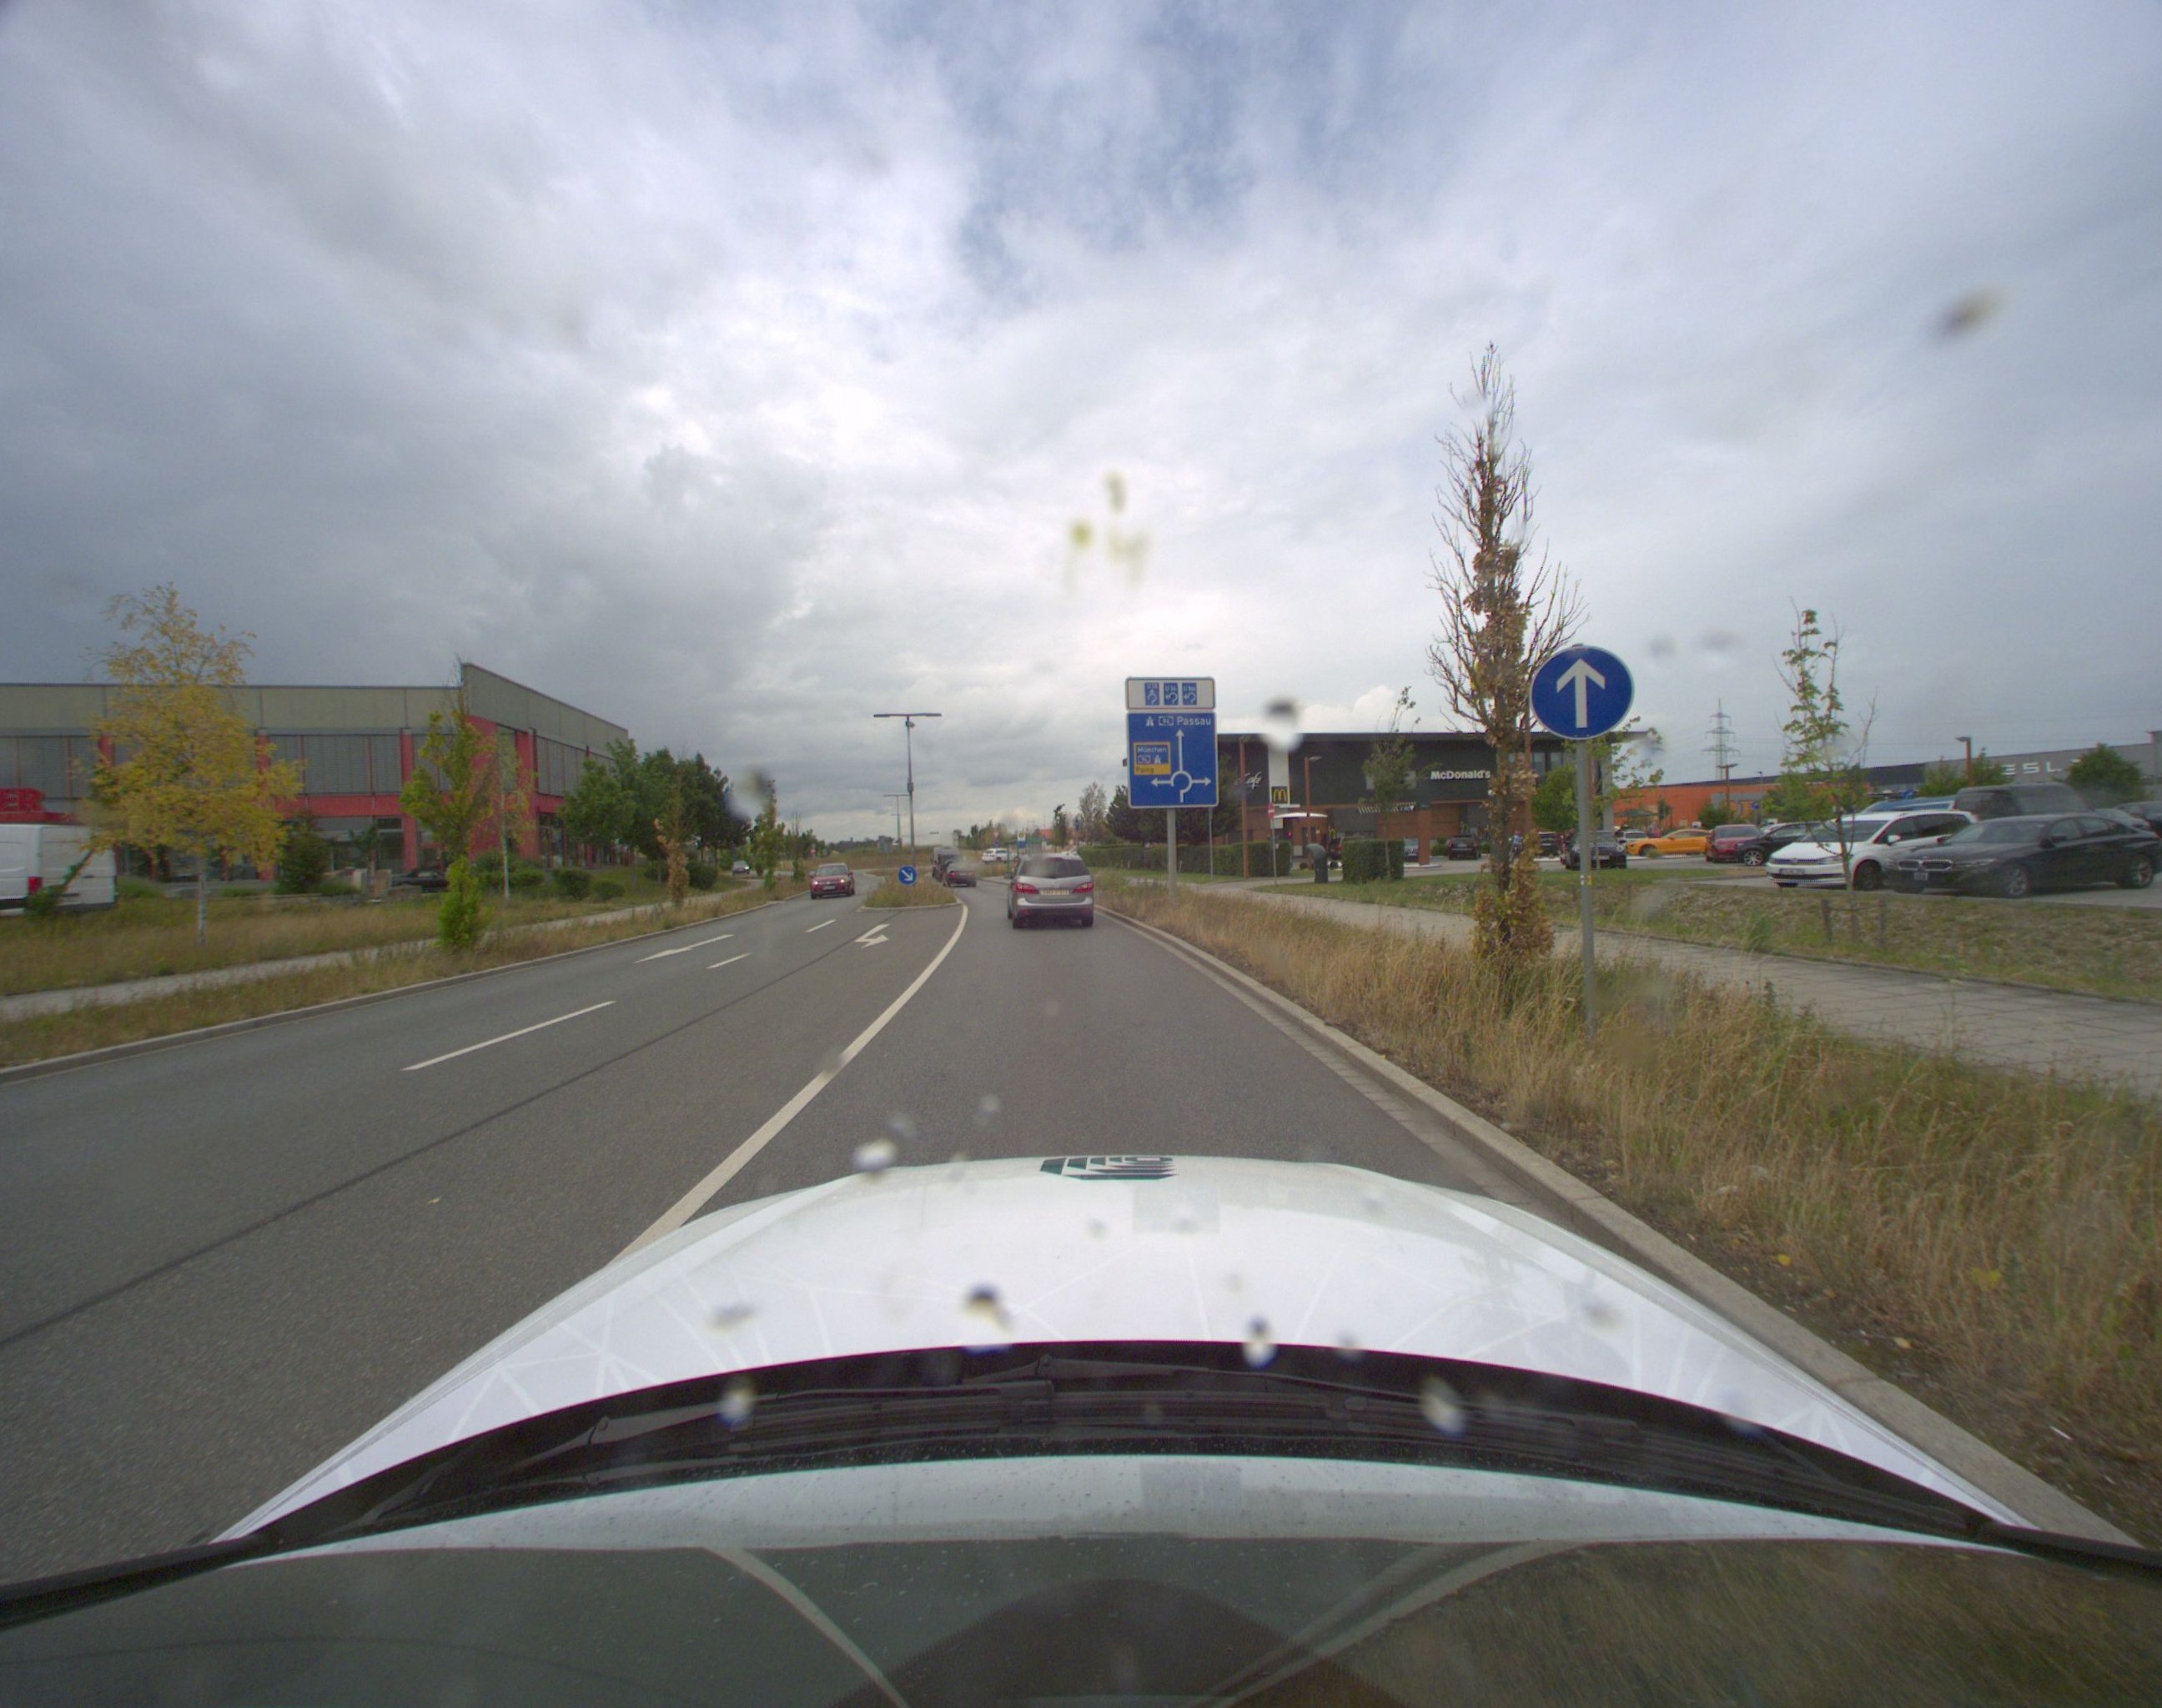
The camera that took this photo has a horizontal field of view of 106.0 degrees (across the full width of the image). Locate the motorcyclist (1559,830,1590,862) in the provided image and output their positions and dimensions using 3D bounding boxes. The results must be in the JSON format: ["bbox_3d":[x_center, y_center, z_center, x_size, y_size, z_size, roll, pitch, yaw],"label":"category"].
[{"bbox_3d":[21.184,-0.350,34.967,0.776,1.334,0.897,-2,0,2],"label":"motorcyclist"}]

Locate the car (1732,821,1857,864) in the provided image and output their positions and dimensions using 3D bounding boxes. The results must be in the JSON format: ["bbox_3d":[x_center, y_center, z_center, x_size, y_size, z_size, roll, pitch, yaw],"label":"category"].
[{"bbox_3d":[23.681,-0.355,27.076,3.051,1.309,1.535,-1,0,44],"label":"car"}]

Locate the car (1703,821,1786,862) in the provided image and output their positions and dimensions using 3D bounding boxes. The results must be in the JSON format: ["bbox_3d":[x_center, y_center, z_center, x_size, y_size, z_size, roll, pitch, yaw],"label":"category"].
[{"bbox_3d":[25.456,-0.499,31.376,1.980,1.429,4.181,-2,1,33],"label":"car"}]

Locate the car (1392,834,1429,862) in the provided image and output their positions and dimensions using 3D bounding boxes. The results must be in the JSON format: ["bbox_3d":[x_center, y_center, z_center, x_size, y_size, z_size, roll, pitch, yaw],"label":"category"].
[{"bbox_3d":[21.072,-0.387,51.998,1.975,1.717,4.023,-1,0,24],"label":"car"}]

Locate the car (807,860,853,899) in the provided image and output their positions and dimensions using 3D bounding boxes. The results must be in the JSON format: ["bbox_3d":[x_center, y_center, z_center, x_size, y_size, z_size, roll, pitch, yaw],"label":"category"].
[{"bbox_3d":[-12.053,1.191,39.296,1.802,1.669,4.305,-4,0,-15],"label":"car"}]

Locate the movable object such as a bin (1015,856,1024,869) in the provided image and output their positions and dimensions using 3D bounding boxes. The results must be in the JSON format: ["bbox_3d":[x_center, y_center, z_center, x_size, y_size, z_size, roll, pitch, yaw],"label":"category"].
[{"bbox_3d":[-3.896,0.546,51.599,0.456,0.798,0.378,-2,0,-14],"label":"movable object such as a bin"}]

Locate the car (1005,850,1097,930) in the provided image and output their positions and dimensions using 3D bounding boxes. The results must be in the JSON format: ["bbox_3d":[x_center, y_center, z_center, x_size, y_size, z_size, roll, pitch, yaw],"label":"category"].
[{"bbox_3d":[-0.776,0.732,18.535,1.728,1.600,3.797,-1,0,-8],"label":"car"}]

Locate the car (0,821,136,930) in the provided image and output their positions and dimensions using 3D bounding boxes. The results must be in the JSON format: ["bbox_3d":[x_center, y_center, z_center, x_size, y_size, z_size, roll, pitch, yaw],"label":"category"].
[{"bbox_3d":[-28.276,0.598,20.100,6.408,2.598,2.236,-2,0,-10],"label":"car"}]

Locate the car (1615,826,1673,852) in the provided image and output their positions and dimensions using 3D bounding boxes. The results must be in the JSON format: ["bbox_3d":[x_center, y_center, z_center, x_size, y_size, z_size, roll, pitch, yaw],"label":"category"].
[{"bbox_3d":[38.644,-1.049,55.878,4.018,1.722,1.978,-2,0,-36],"label":"car"}]

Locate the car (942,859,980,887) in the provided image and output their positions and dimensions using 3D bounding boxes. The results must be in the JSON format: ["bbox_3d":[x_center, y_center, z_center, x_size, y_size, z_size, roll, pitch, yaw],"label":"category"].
[{"bbox_3d":[-6.858,1.053,46.243,1.846,1.418,4.207,-2,0,-12],"label":"car"}]

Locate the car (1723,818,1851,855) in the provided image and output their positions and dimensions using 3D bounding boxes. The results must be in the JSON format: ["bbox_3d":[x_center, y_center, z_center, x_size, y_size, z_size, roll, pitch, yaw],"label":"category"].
[{"bbox_3d":[36.896,-0.893,42.729,4.673,1.656,2.012,-2,0,28],"label":"car"}]

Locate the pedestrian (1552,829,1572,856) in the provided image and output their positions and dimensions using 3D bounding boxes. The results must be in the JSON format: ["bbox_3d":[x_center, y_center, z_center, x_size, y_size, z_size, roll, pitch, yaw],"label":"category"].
[{"bbox_3d":[26.313,-0.622,44.583,0.627,1.439,0.761,-2,0,-44],"label":"pedestrian"}]

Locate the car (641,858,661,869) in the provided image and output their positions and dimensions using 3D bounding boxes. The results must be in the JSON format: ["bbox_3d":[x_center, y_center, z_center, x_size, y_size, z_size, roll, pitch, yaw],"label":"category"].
[{"bbox_3d":[-74.322,1.591,140.734,1.995,1.860,3.983,-1,0,-12],"label":"car"}]

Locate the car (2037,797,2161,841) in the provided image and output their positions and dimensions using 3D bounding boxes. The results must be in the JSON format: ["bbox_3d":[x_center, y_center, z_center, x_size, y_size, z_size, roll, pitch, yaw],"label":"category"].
[{"bbox_3d":[46.756,-1.574,36.604,1.872,1.816,4.645,-2,0,-30],"label":"car"}]

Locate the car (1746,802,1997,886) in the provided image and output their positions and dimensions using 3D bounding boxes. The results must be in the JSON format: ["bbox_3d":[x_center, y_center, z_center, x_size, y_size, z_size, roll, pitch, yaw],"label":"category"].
[{"bbox_3d":[17.707,-0.238,18.318,4.350,1.639,1.930,-2,0,-12],"label":"car"}]

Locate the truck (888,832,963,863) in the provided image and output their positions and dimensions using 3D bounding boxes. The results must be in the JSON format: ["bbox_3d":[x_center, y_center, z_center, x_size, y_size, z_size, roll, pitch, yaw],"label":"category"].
[{"bbox_3d":[-21.025,-0.867,110.360,9.255,3.906,3.150,-2,0,7],"label":"truck"}]

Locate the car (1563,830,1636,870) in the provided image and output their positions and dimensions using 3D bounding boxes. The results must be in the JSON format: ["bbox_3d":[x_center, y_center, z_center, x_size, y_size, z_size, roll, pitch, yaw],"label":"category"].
[{"bbox_3d":[18.723,-0.181,29.564,1.794,1.313,3.873,-2,1,26],"label":"car"}]

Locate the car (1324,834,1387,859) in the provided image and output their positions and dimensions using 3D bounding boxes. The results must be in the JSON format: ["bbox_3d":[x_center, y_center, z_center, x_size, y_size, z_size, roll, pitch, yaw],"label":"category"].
[{"bbox_3d":[20.159,-0.525,59.865,3.991,1.717,1.991,-1,0,-13],"label":"car"}]

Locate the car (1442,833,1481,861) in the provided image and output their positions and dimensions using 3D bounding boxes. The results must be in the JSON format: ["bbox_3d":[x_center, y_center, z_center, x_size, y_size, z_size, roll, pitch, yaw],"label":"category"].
[{"bbox_3d":[25.124,-0.482,53.642,2.096,1.717,4.256,-1,0,28],"label":"car"}]

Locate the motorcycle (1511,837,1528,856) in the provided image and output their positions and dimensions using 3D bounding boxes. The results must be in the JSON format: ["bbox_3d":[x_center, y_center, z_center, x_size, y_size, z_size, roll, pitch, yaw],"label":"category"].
[{"bbox_3d":[28.673,-0.487,53.322,0.848,1.244,1.978,-1,0,25],"label":"motorcycle"}]

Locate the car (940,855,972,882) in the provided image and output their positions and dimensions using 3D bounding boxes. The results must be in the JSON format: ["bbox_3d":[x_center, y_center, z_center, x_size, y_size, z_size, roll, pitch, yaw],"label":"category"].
[{"bbox_3d":[-8.953,1.004,58.154,2.059,1.826,4.768,-2,0,-11],"label":"car"}]

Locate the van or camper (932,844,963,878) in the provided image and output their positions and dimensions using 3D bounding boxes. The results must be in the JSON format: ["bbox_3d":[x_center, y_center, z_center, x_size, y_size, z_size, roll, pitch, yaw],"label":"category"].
[{"bbox_3d":[-10.678,0.530,65.356,2.302,2.506,5.189,-1,0,-9],"label":"van or camper"}]

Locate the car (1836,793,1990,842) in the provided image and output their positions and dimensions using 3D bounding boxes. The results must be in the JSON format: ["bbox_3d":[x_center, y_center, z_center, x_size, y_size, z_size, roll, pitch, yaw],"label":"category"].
[{"bbox_3d":[48.384,-2.074,47.596,5.968,2.528,2.296,-2,1,37],"label":"car"}]

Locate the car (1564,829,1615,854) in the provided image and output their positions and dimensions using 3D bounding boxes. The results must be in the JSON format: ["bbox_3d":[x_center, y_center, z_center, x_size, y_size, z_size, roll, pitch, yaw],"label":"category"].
[{"bbox_3d":[34.456,-0.865,55.274,1.977,1.581,4.019,-1,0,18],"label":"car"}]

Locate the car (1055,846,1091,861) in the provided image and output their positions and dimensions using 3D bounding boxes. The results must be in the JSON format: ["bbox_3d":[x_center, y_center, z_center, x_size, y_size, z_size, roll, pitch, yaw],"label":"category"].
[{"bbox_3d":[-1.082,-0.058,105.849,4.591,1.757,1.998,-2,0,-3],"label":"car"}]

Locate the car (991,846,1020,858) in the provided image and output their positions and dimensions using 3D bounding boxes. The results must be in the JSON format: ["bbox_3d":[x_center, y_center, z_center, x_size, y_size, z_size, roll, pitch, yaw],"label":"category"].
[{"bbox_3d":[-10.086,-0.240,108.714,2.009,1.515,3.956,-2,0,-36],"label":"car"}]

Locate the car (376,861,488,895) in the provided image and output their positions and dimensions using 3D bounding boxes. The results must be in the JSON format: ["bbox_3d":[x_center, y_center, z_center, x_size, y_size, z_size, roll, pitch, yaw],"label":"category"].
[{"bbox_3d":[-33.715,1.198,42.358,4.412,1.552,1.976,-2,0,-43],"label":"car"}]

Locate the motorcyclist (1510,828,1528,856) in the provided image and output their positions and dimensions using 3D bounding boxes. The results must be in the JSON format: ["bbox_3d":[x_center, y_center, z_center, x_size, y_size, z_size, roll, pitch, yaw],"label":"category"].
[{"bbox_3d":[28.655,-0.787,53.320,0.952,1.832,0.850,-1,0,25],"label":"motorcyclist"}]

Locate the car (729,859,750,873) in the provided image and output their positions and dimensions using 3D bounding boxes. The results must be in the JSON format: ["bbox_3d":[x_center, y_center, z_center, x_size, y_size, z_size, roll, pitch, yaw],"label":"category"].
[{"bbox_3d":[-36.880,1.297,87.856,1.850,1.407,3.967,-4,0,-25],"label":"car"}]

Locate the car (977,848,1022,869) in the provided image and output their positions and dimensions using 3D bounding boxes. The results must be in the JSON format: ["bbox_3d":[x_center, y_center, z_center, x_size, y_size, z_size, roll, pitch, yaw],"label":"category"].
[{"bbox_3d":[-8.655,0.456,87.141,1.974,2.013,4.654,-2,0,40],"label":"car"}]

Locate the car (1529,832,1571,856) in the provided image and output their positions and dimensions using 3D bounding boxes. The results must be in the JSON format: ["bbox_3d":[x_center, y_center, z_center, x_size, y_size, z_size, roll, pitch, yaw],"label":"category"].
[{"bbox_3d":[31.402,-0.666,54.613,1.769,1.497,4.020,-1,0,20],"label":"car"}]

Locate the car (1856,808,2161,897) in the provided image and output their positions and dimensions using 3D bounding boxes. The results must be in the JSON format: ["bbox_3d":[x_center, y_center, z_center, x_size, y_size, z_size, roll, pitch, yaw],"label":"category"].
[{"bbox_3d":[18.047,-0.053,15.824,4.467,1.436,2.067,-2,0,-10],"label":"car"}]

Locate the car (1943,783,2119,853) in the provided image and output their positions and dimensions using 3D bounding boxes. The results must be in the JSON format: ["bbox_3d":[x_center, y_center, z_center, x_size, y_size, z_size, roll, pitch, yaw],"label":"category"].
[{"bbox_3d":[38.881,-1.424,33.666,2.252,2.501,7.374,-2,1,29],"label":"car"}]

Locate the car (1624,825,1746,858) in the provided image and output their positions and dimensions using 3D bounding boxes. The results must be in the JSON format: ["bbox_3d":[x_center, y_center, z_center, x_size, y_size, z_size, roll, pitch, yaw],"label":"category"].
[{"bbox_3d":[30.102,-0.607,40.786,4.673,1.443,2.013,-2,0,30],"label":"car"}]
